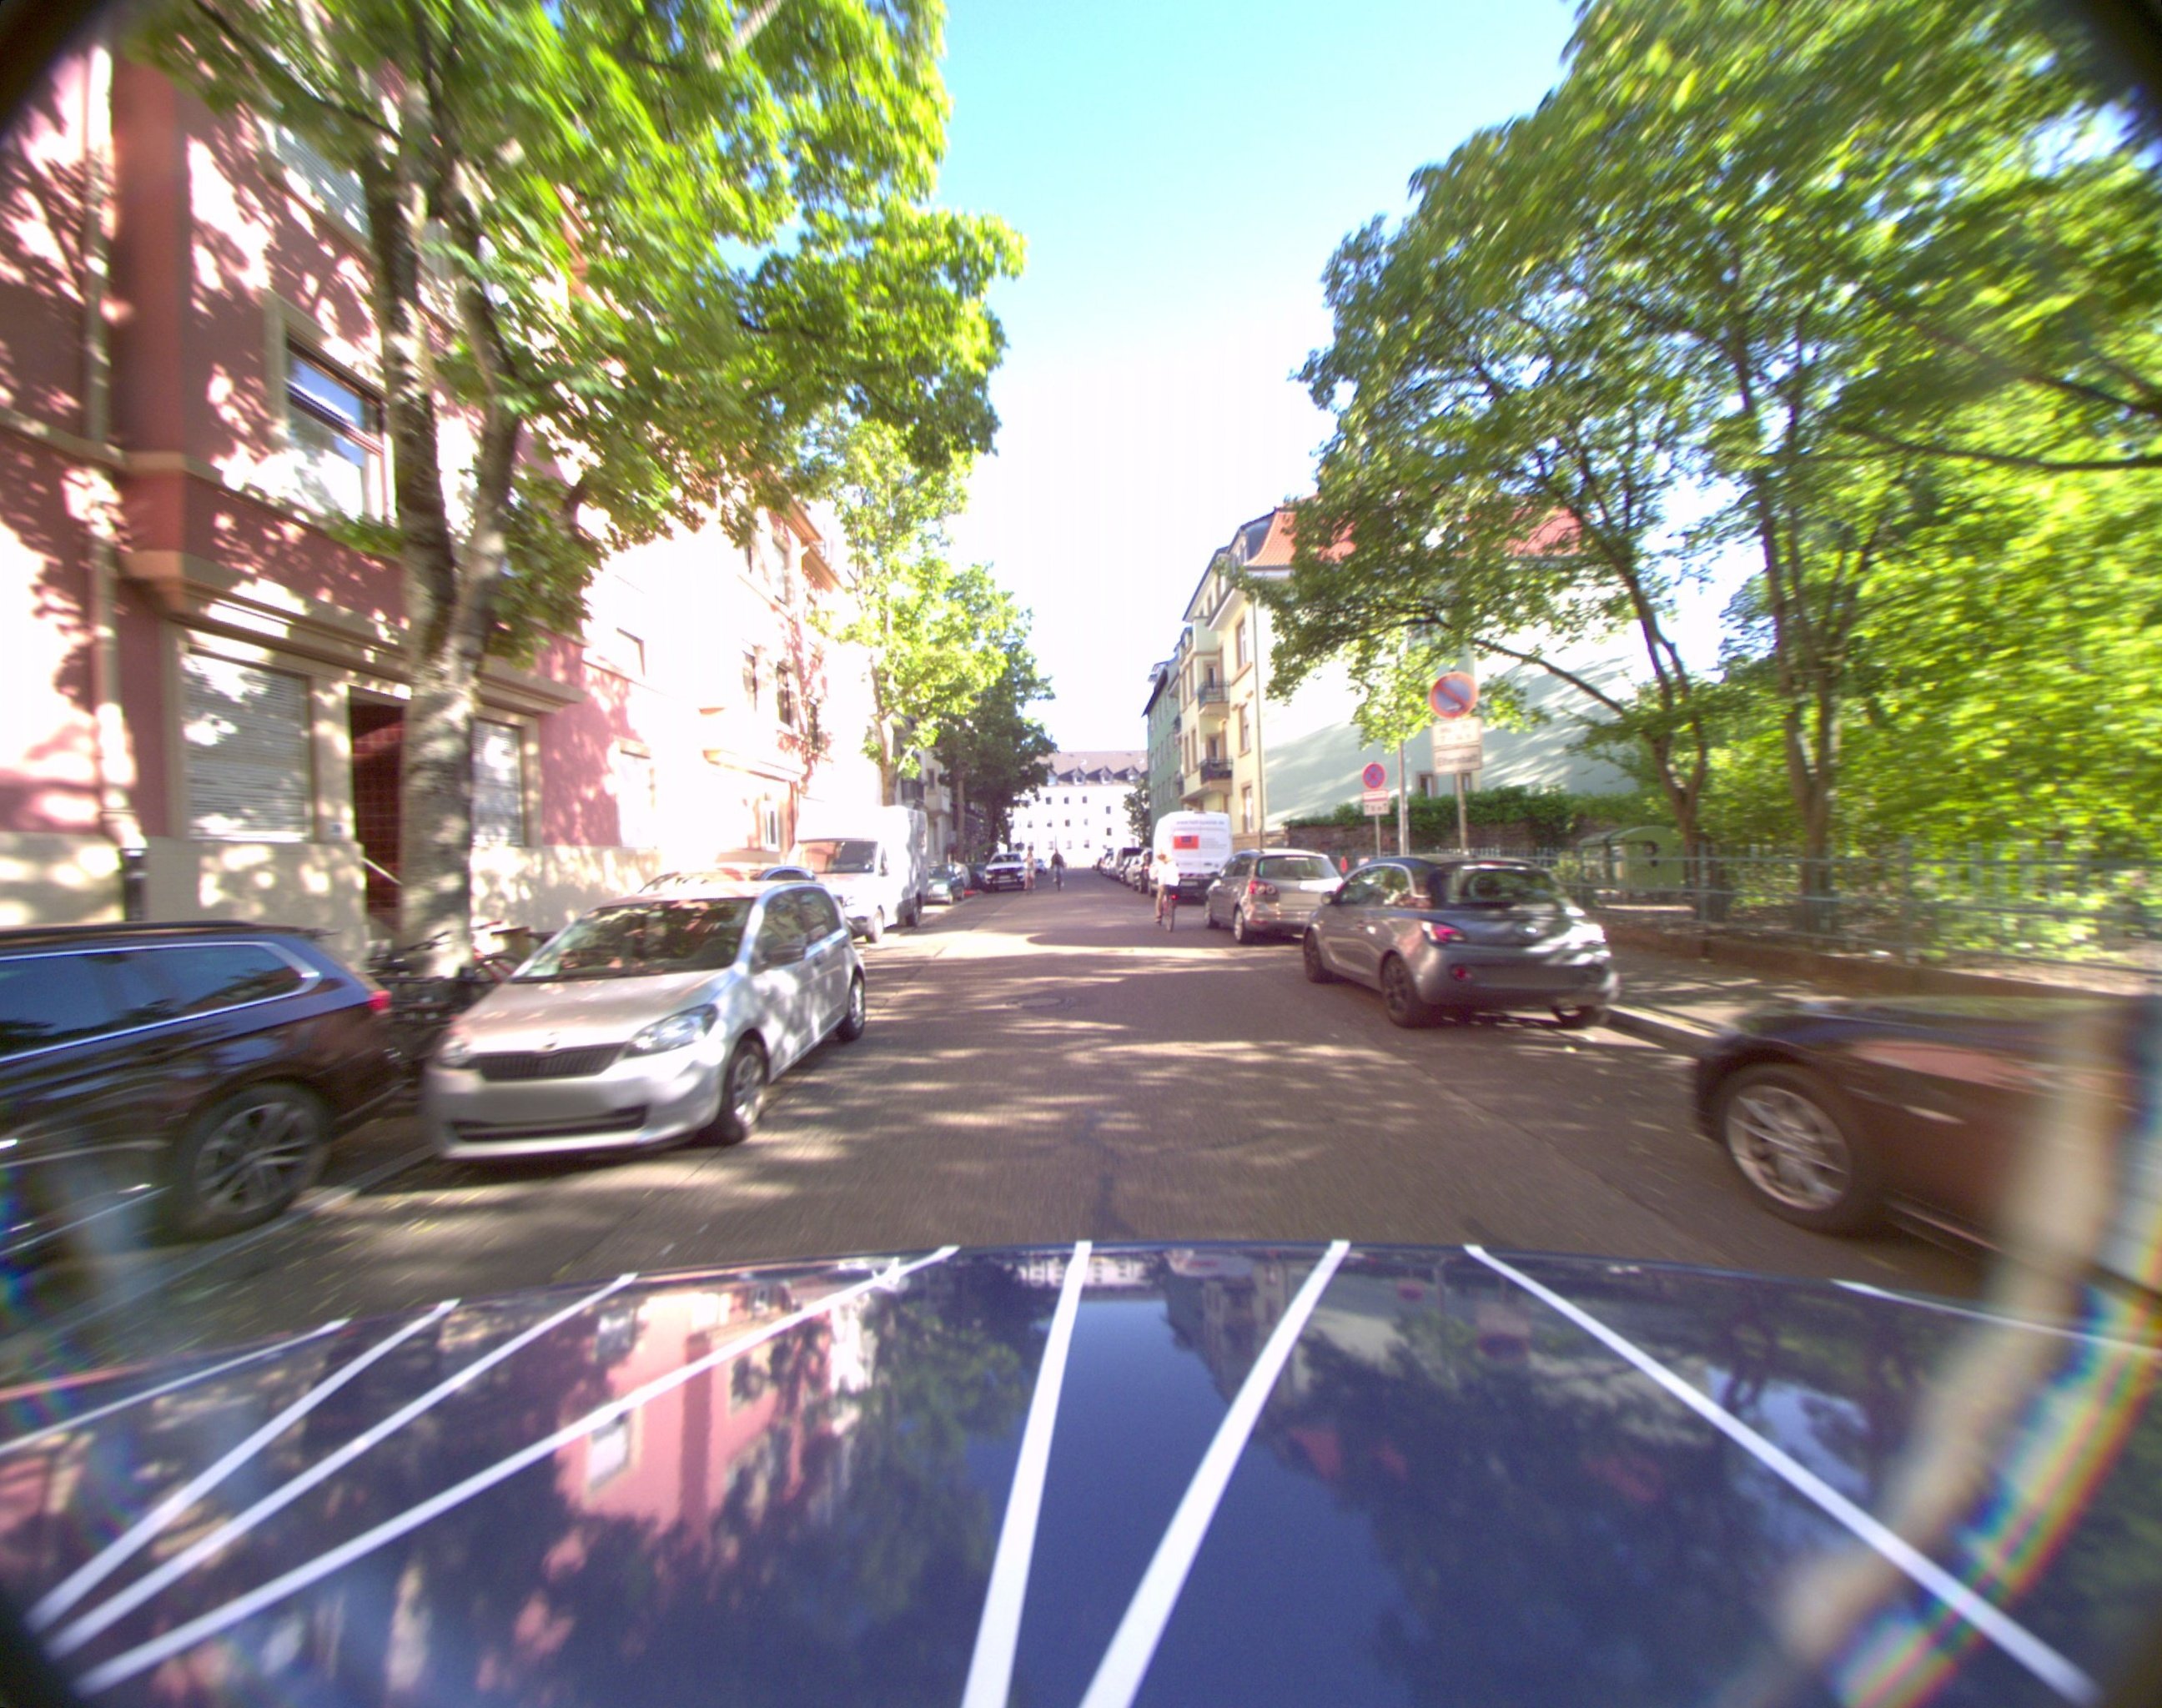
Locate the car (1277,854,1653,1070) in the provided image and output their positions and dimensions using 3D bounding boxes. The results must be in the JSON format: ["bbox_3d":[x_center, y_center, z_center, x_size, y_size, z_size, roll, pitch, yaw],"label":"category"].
[{"bbox_3d":[3.362,0.797,7.674,1.680,1.563,4.151,1,0,0],"label":"car"}]

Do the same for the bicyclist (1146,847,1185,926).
[{"bbox_3d":[1.662,0.625,14.991,0.653,1.500,0.624,-3,1,1],"label":"bicyclist"}]

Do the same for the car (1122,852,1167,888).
[{"bbox_3d":[2.925,0.698,35.558,1.639,1.543,4.087,-1,1,-2],"label":"car"}]

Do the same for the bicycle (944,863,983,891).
[{"bbox_3d":[-5.676,1.114,36.788,1.764,1.297,0.586,-2,1,-2],"label":"bicycle"}]

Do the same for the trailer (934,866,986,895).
[{"bbox_3d":[-5.273,1.140,33.131,2.088,1.106,1.114,-3,1,-15],"label":"trailer"}]

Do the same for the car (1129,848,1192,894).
[{"bbox_3d":[3.091,0.612,30.488,1.880,1.675,4.968,0,0,-1],"label":"car"}]

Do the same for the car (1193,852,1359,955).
[{"bbox_3d":[3.320,0.751,13.878,1.785,1.581,4.468,0,0,-1],"label":"car"}]

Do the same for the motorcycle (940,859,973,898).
[{"bbox_3d":[-5.096,0.993,31.213,0.932,1.477,2.138,-3,0,0],"label":"motorcycle"}]

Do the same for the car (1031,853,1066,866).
[{"bbox_3d":[-4.421,0.687,102.000,4.493,1.498,1.944,-2,0,-7],"label":"car"}]

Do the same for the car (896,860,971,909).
[{"bbox_3d":[-5.245,1.039,27.637,1.755,1.520,4.781,-1,0,0],"label":"car"}]

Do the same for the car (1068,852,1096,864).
[{"bbox_3d":[0.108,0.515,102.669,3.613,1.440,1.553,-2,2,-9],"label":"car"}]

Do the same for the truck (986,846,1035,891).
[{"bbox_3d":[-3.329,0.636,37.077,1.833,1.937,5.540,-3,0,-1],"label":"truck"}]

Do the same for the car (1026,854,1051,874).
[{"bbox_3d":[-3.692,0.821,65.972,1.807,1.526,3.964,-3,0,1],"label":"car"}]

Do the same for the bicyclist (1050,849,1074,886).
[{"bbox_3d":[-0.838,0.579,33.467,0.758,1.556,0.980,-4,1,-14],"label":"bicyclist"}]

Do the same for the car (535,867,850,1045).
[{"bbox_3d":[-4.839,1.115,10.485,1.890,1.706,4.943,-2,0,-2],"label":"car"}]

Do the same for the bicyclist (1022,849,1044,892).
[{"bbox_3d":[-1.966,0.645,31.151,0.716,1.679,0.981,-5,1,-3],"label":"bicyclist"}]

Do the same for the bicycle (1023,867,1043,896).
[{"bbox_3d":[-1.959,1.099,31.210,0.708,1.039,1.857,-5,1,-3],"label":"bicycle"}]

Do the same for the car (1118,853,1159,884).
[{"bbox_3d":[2.991,0.728,40.315,1.771,1.512,4.824,-1,0,-1],"label":"car"}]

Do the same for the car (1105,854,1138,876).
[{"bbox_3d":[2.724,0.723,52.003,1.838,1.454,4.362,0,0,-2],"label":"car"}]

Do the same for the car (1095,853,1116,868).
[{"bbox_3d":[2.413,0.611,75.976,1.771,1.444,4.206,1,0,-2],"label":"car"}]

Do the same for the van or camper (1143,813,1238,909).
[{"bbox_3d":[3.382,0.188,24.718,2.134,2.753,5.850,0,0,-1],"label":"van or camper"}]

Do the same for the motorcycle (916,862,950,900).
[{"bbox_3d":[-6.039,1.084,31.175,0.863,1.408,2.234,-3,0,0],"label":"motorcycle"}]

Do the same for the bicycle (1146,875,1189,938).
[{"bbox_3d":[1.691,1.009,15.087,0.666,1.071,1.685,-3,1,1],"label":"bicycle"}]

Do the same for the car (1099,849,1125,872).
[{"bbox_3d":[2.512,0.493,62.799,1.776,1.832,4.414,0,1,-3],"label":"car"}]

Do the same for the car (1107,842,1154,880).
[{"bbox_3d":[2.942,0.405,46.360,2.258,2.156,5.241,0,0,-3],"label":"car"}]

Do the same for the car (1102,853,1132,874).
[{"bbox_3d":[2.643,0.672,57.025,1.725,1.454,4.505,0,0,-4],"label":"car"}]

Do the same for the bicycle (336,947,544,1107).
[{"bbox_3d":[-4.639,1.242,5.524,1.203,1.069,0.298,-1,1,-1],"label":"bicycle"}]

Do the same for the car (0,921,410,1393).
[{"bbox_3d":[-4.716,1.192,2.085,1.791,1.505,4.458,-3,0,-2],"label":"car"}]

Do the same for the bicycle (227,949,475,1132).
[{"bbox_3d":[-4.926,1.247,5.159,1.310,1.133,0.328,-1,1,-1],"label":"bicycle"}]

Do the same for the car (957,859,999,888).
[{"bbox_3d":[-5.463,0.995,40.720,1.684,1.414,4.429,-1,0,-1],"label":"car"}]

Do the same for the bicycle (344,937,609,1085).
[{"bbox_3d":[-5.209,1.340,6.620,1.816,1.160,0.569,0,1,-2],"label":"bicycle"}]

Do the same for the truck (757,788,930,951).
[{"bbox_3d":[-4.934,0.277,16.884,2.079,2.951,6.107,0,0,-2],"label":"truck"}]

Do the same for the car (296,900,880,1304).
[{"bbox_3d":[-2.780,1.267,5.434,1.683,1.535,3.799,-3,0,-2],"label":"car"}]

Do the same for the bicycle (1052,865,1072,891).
[{"bbox_3d":[-0.856,1.049,33.625,0.741,1.054,1.857,-4,1,-3],"label":"bicycle"}]

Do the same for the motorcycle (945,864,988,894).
[{"bbox_3d":[-5.184,1.131,34.492,1.768,1.233,0.700,-3,1,-40],"label":"motorcycle"}]

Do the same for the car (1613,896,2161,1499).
[{"bbox_3d":[3.575,0.934,1.380,1.718,1.387,4.778,2,0,-2],"label":"car"}]
